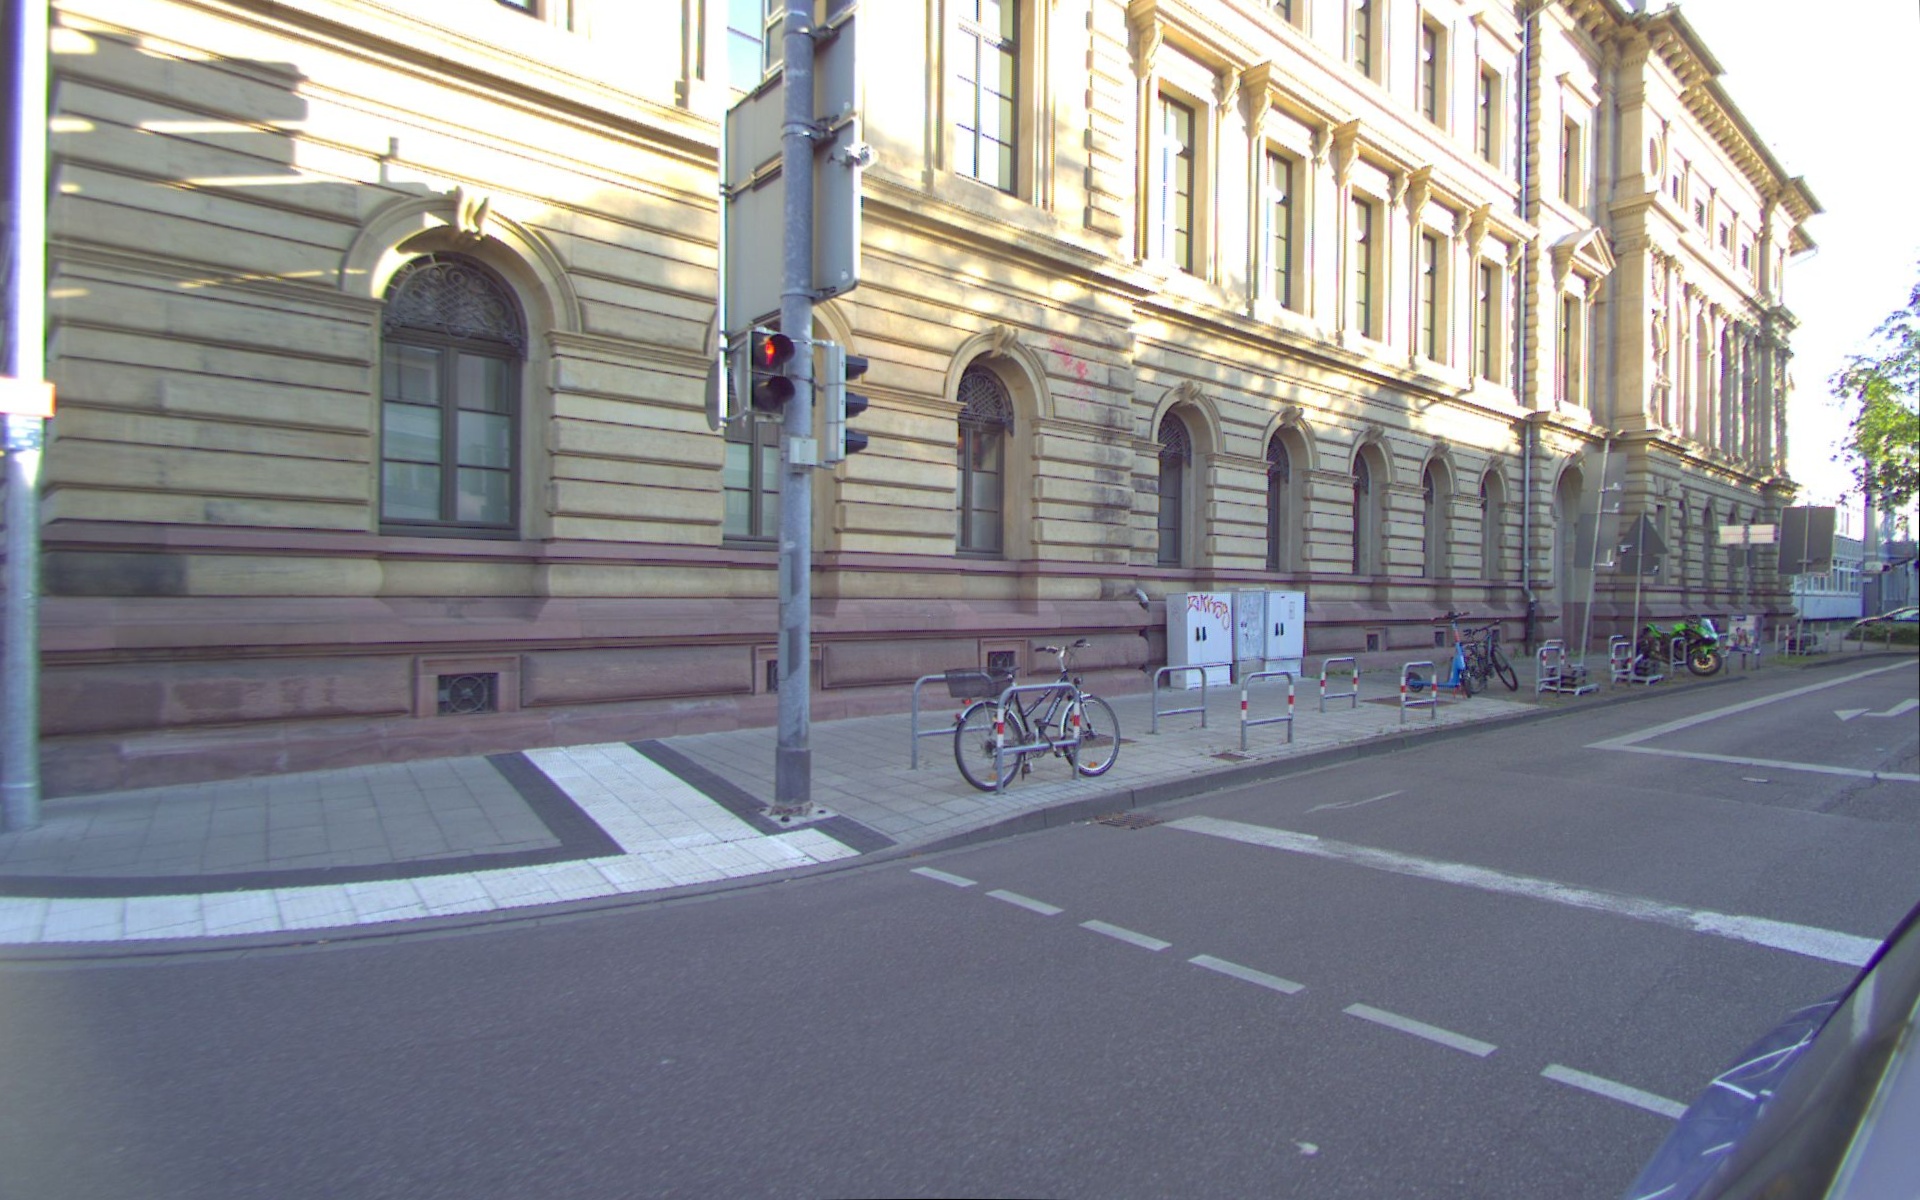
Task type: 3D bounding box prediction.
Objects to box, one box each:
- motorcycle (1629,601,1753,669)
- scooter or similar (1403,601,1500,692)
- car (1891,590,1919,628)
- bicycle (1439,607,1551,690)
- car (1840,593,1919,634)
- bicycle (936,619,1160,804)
[{"bbox_3d":[14.953,0.690,20.790,0.695,1.230,2.109,1,2,-11],"label":"motorcycle"},{"bbox_3d":[7.127,0.657,14.717,0.571,1.210,1.136,1,2,-22],"label":"scooter or similar"},{"bbox_3d":[44.848,0.511,45.402,2.019,1.662,4.364,0,3,-42],"label":"car"},{"bbox_3d":[8.250,0.706,15.565,1.910,1.148,0.829,0,3,-40],"label":"bicycle"},{"bbox_3d":[37.745,0.569,39.968,1.804,1.482,4.362,0,3,-44],"label":"car"},{"bbox_3d":[0.731,0.792,7.887,1.887,1.203,0.583,-2,2,-40],"label":"bicycle"}]
